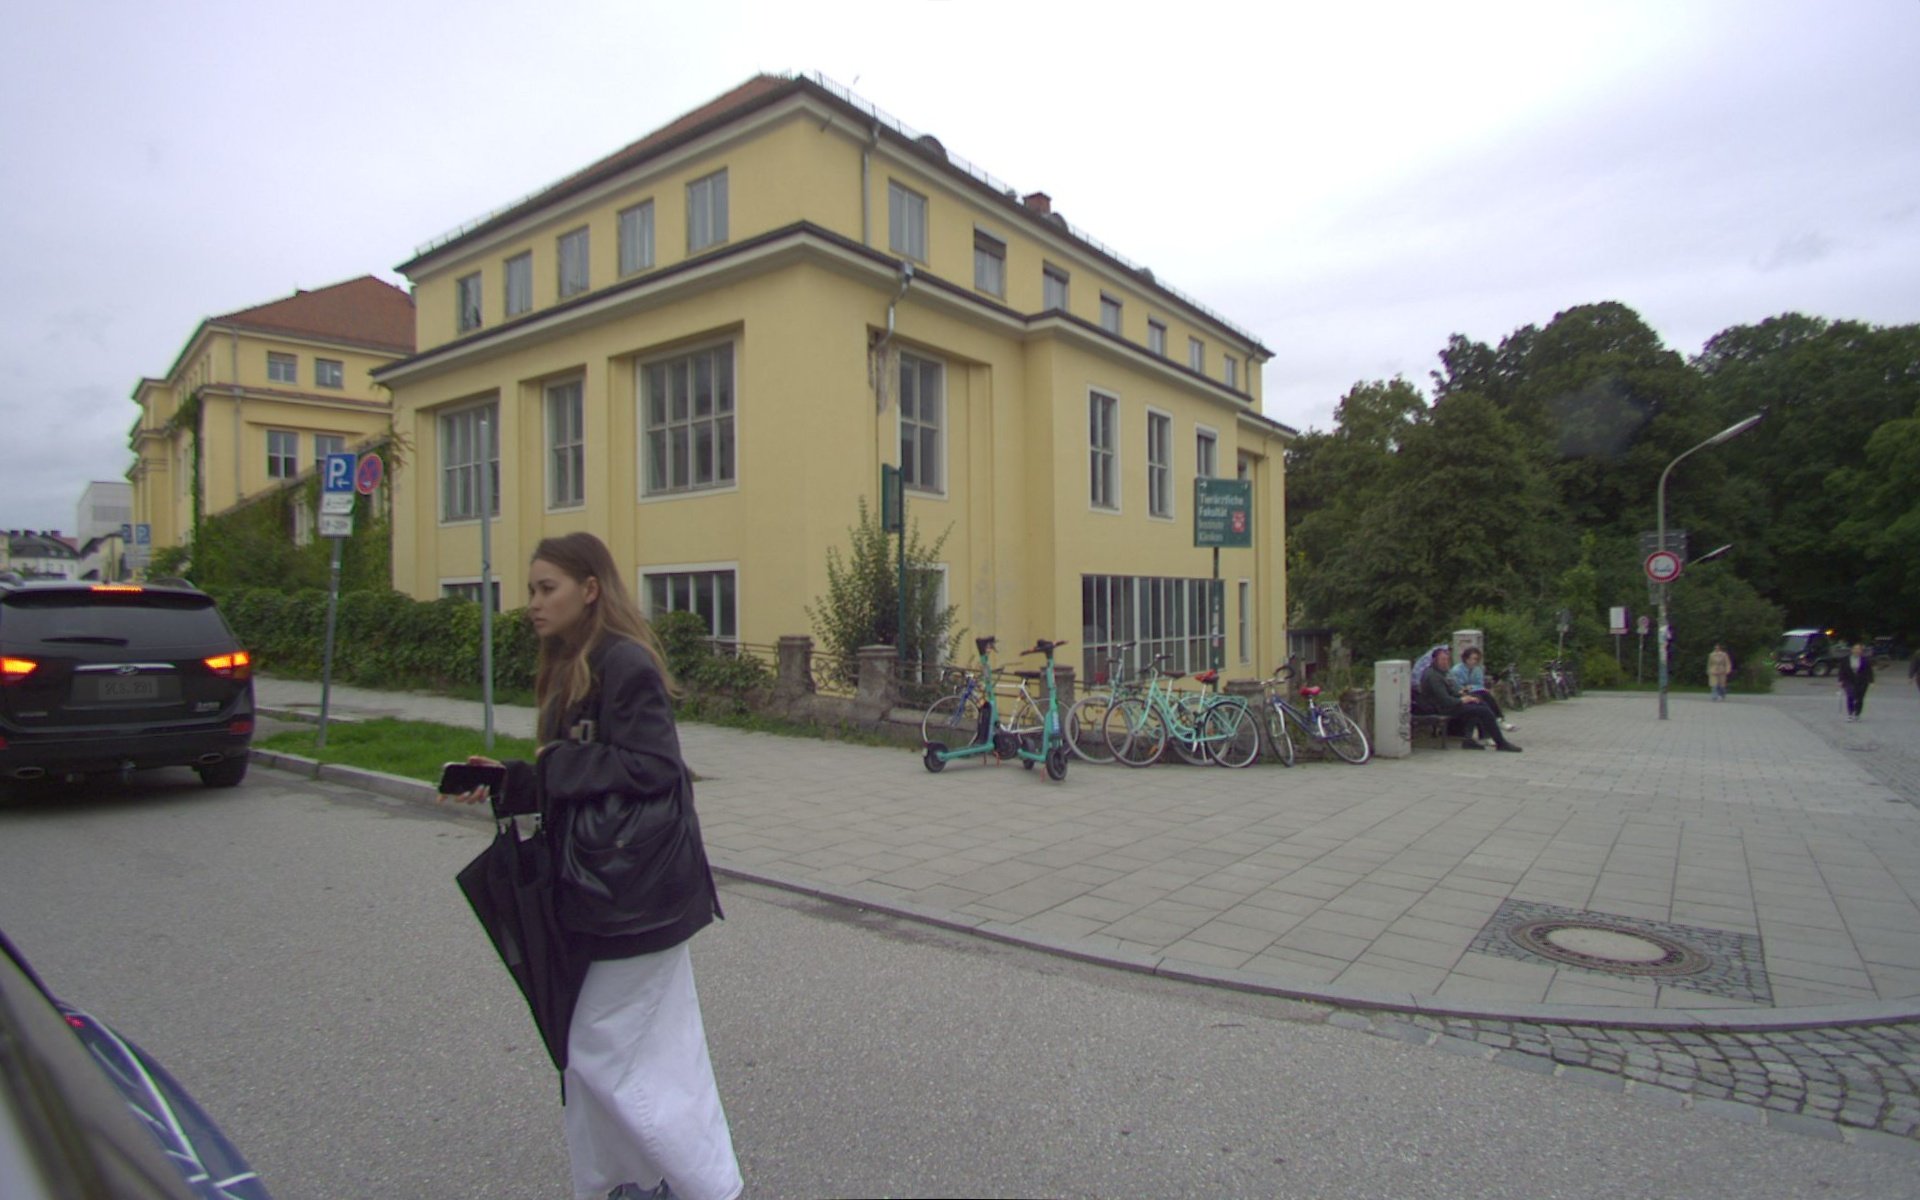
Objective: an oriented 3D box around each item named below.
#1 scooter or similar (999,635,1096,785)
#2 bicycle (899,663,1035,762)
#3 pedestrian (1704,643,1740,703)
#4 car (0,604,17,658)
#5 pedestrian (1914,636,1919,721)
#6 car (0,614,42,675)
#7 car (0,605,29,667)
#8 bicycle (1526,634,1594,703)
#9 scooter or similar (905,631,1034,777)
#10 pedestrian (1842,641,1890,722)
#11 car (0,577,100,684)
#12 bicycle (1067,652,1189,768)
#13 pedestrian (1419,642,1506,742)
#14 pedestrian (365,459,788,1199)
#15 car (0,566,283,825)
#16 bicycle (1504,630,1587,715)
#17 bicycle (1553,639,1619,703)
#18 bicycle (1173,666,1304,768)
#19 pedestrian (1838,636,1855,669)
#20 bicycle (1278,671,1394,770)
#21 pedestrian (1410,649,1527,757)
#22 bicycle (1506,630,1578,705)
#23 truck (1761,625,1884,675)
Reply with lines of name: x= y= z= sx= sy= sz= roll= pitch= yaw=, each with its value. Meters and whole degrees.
scooter or similar: x=0.768 y=0.946 z=9.106 sx=0.432 sy=1.221 sz=1.057 roll=1 pitch=0 yaw=-21
bicycle: x=0.075 y=1.139 z=10.411 sx=1.320 sy=0.900 sz=0.432 roll=1 pitch=0 yaw=19
pedestrian: x=22.947 y=2.181 z=30.500 sx=0.747 sy=1.719 sz=1.099 roll=-1 pitch=-2 yaw=34
car: x=-34.645 y=1.061 z=35.634 sx=1.871 sy=1.812 sz=4.884 roll=6 pitch=-6 yaw=-44
pedestrian: x=19.633 y=1.578 z=20.265 sx=0.660 sy=1.710 sz=0.742 roll=-2 pitch=-2 yaw=39
car: x=-23.481 y=1.038 z=24.353 sx=4.002 sy=1.376 sz=1.688 roll=-2 pitch=-6 yaw=44
car: x=-27.118 y=0.980 z=28.014 sx=4.493 sy=1.619 sz=1.683 roll=-2 pitch=-5 yaw=45
bicycle: x=16.090 y=1.793 z=27.254 sx=1.045 sy=1.674 sz=3.129 roll=-1 pitch=-1 yaw=21
scooter or similar: x=0.102 y=0.931 z=9.473 sx=1.244 sy=1.253 sz=0.395 roll=0 pitch=0 yaw=-41
pedestrian: x=18.705 y=1.663 z=20.896 sx=0.692 sy=1.593 sz=0.741 roll=-2 pitch=-2 yaw=42
car: x=-19.384 y=0.635 z=20.710 sx=4.619 sy=1.994 sz=1.905 roll=-2 pitch=-4 yaw=40
bicycle: x=1.689 y=1.091 z=10.196 sx=1.172 sy=1.119 sz=0.302 roll=1 pitch=-1 yaw=-12
pedestrian: x=7.193 y=1.285 z=14.481 sx=1.029 sy=1.345 sz=0.945 roll=-1 pitch=-1 yaw=31
pedestrian: x=-0.817 y=0.609 z=2.223 sx=0.663 sy=1.710 sz=0.539 roll=-1 pitch=-3 yaw=26
car: x=-7.757 y=0.693 z=8.796 sx=4.612 sy=1.732 sz=1.973 roll=-2 pitch=-2 yaw=41
bicycle: x=12.605 y=1.503 z=21.908 sx=1.045 sy=1.674 sz=3.130 roll=-1 pitch=-1 yaw=21
bicycle: x=18.056 y=2.009 z=29.283 sx=1.045 sy=1.674 sz=3.129 roll=-1 pitch=-1 yaw=21
bicycle: x=2.871 y=1.188 z=10.440 sx=1.254 sy=0.985 sz=0.415 roll=0 pitch=-2 yaw=-16
pedestrian: x=55.396 y=3.290 z=63.261 sx=0.696 sy=2.029 sz=0.709 roll=-2 pitch=-3 yaw=37
bicycle: x=4.068 y=1.278 z=10.939 sx=1.254 sy=0.985 sz=0.416 roll=1 pitch=-2 yaw=-26
pedestrian: x=6.516 y=1.281 z=12.968 sx=1.261 sy=1.278 sz=0.841 roll=-1 pitch=-1 yaw=31
bicycle: x=14.165 y=1.590 z=24.727 sx=1.045 sy=1.674 sz=2.983 roll=-1 pitch=-1 yaw=21
truck: x=46.330 y=2.644 z=54.395 sx=5.400 sy=2.480 sz=2.407 roll=0 pitch=-1 yaw=-17
